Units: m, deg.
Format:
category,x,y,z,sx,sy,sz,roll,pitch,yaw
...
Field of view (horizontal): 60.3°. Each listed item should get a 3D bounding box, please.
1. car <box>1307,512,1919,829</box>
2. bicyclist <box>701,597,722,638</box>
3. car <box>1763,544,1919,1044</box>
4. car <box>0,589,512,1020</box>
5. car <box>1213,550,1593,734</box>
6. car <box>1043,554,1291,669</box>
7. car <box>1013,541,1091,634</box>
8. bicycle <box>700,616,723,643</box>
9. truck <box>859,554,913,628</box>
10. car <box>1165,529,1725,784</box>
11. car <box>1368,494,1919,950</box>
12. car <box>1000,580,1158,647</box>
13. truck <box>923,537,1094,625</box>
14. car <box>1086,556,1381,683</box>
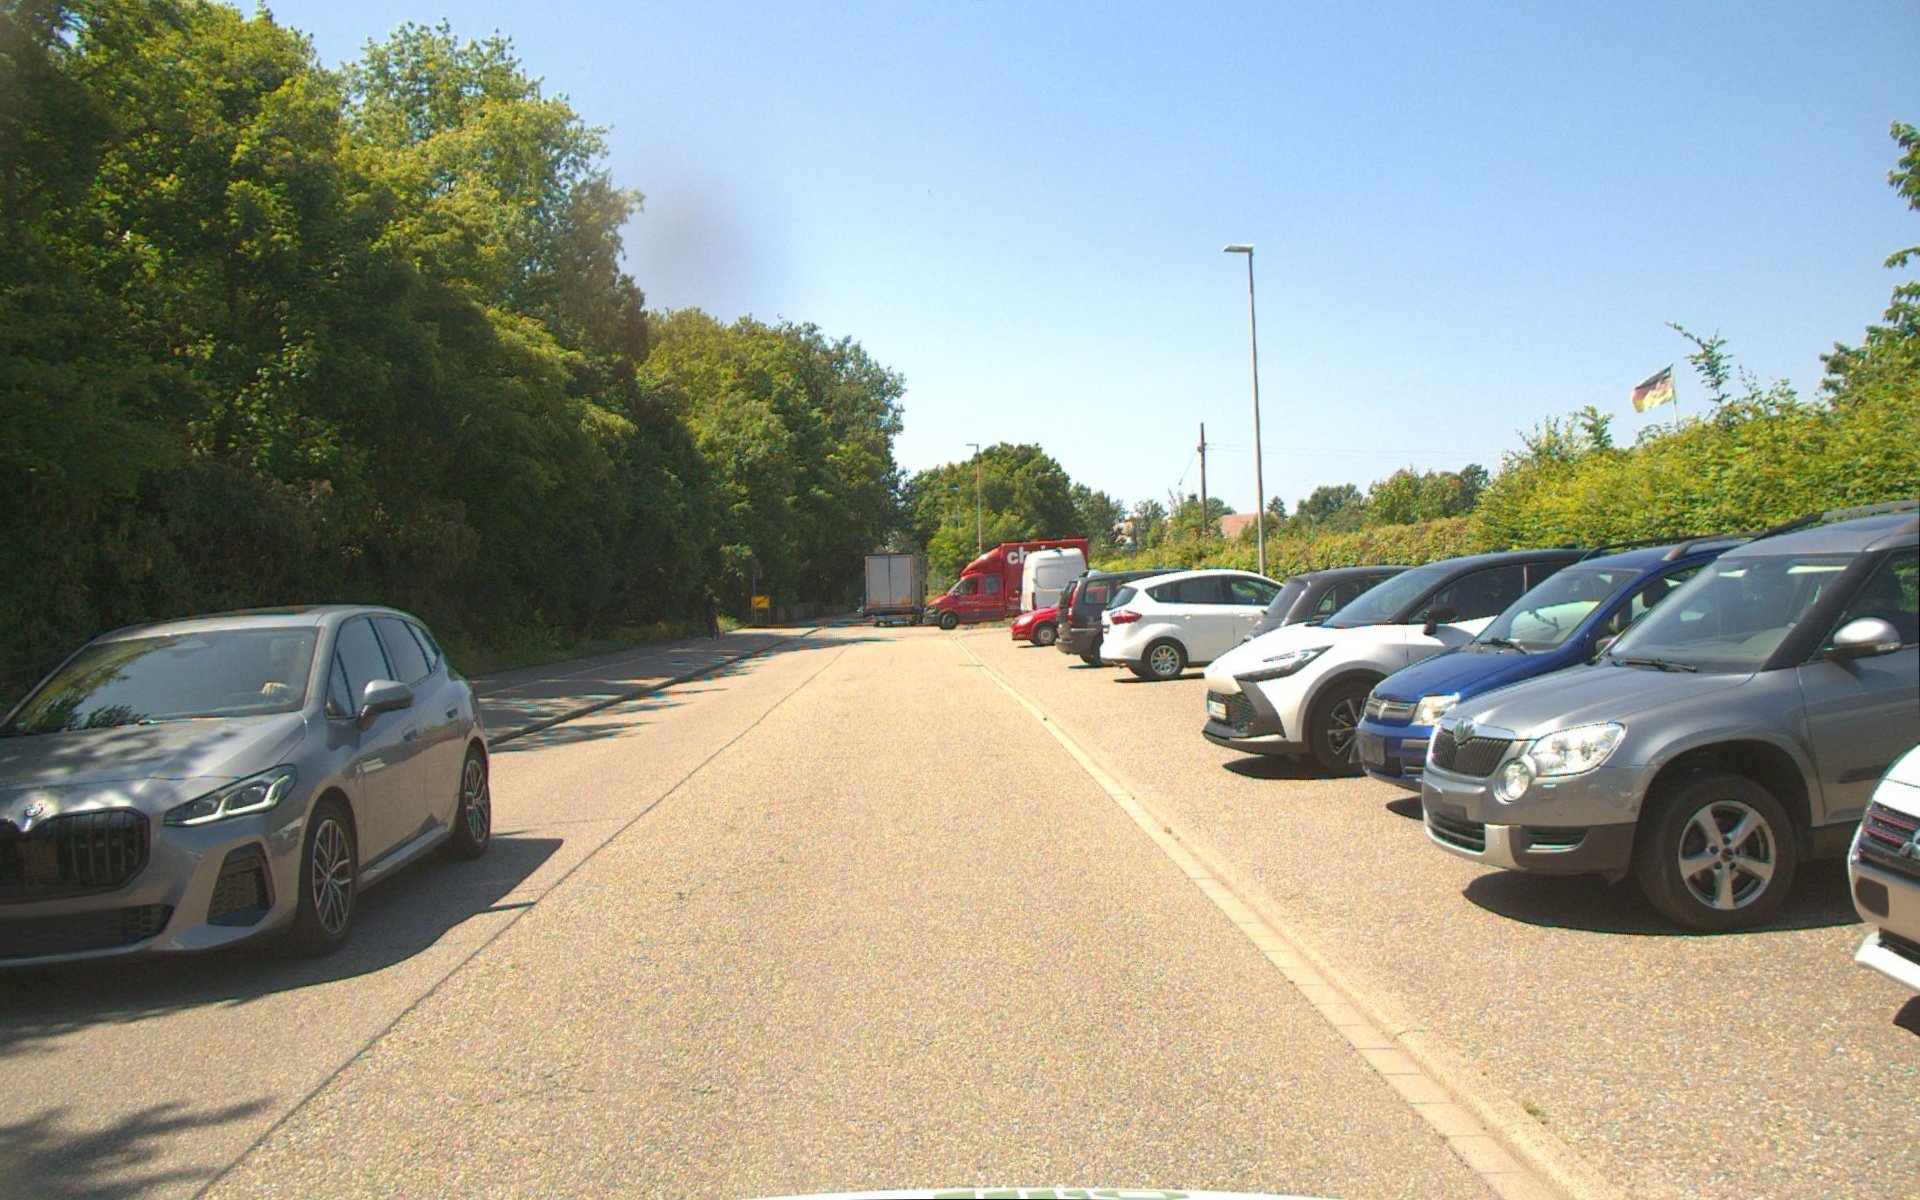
category,x,y,z,sx,sy,sz,roll,pitch,yaw
car,4.186,0.399,10.677,3.388,1.553,1.537,-6,1,-8
bicyclist,-9.881,0.701,65.770,0.635,1.592,0.837,-2,0,2
car,4.626,0.429,4.901,3.614,1.475,1.610,-6,1,1
car,-3.752,0.824,8.478,1.854,1.558,4.193,-6,0,-3
car,4.354,0.390,16.604,3.318,1.530,1.588,-4,1,1
car,3.976,0.215,32.210,4.369,1.836,1.950,-4,0,-7
car,3.013,-0.434,55.545,1.915,2.780,7.165,-4,1,-1
bicycle,-9.862,1.161,65.734,0.549,1.045,1.839,-2,0,2
truck,-4.056,-0.457,92.641,2.678,3.811,13.241,-1,0,-1
car,3.862,0.413,13.531,3.890,1.549,1.861,-6,1,-8
car,4.138,0.384,7.747,3.887,1.668,1.661,-6,1,-8
car,3.213,0.355,45.044,3.976,1.459,1.834,-4,0,-5
truck,2.024,-0.809,69.398,6.990,3.499,2.331,-1,3,1
car,4.233,0.285,26.006,4.193,1.605,1.764,-4,0,-5
